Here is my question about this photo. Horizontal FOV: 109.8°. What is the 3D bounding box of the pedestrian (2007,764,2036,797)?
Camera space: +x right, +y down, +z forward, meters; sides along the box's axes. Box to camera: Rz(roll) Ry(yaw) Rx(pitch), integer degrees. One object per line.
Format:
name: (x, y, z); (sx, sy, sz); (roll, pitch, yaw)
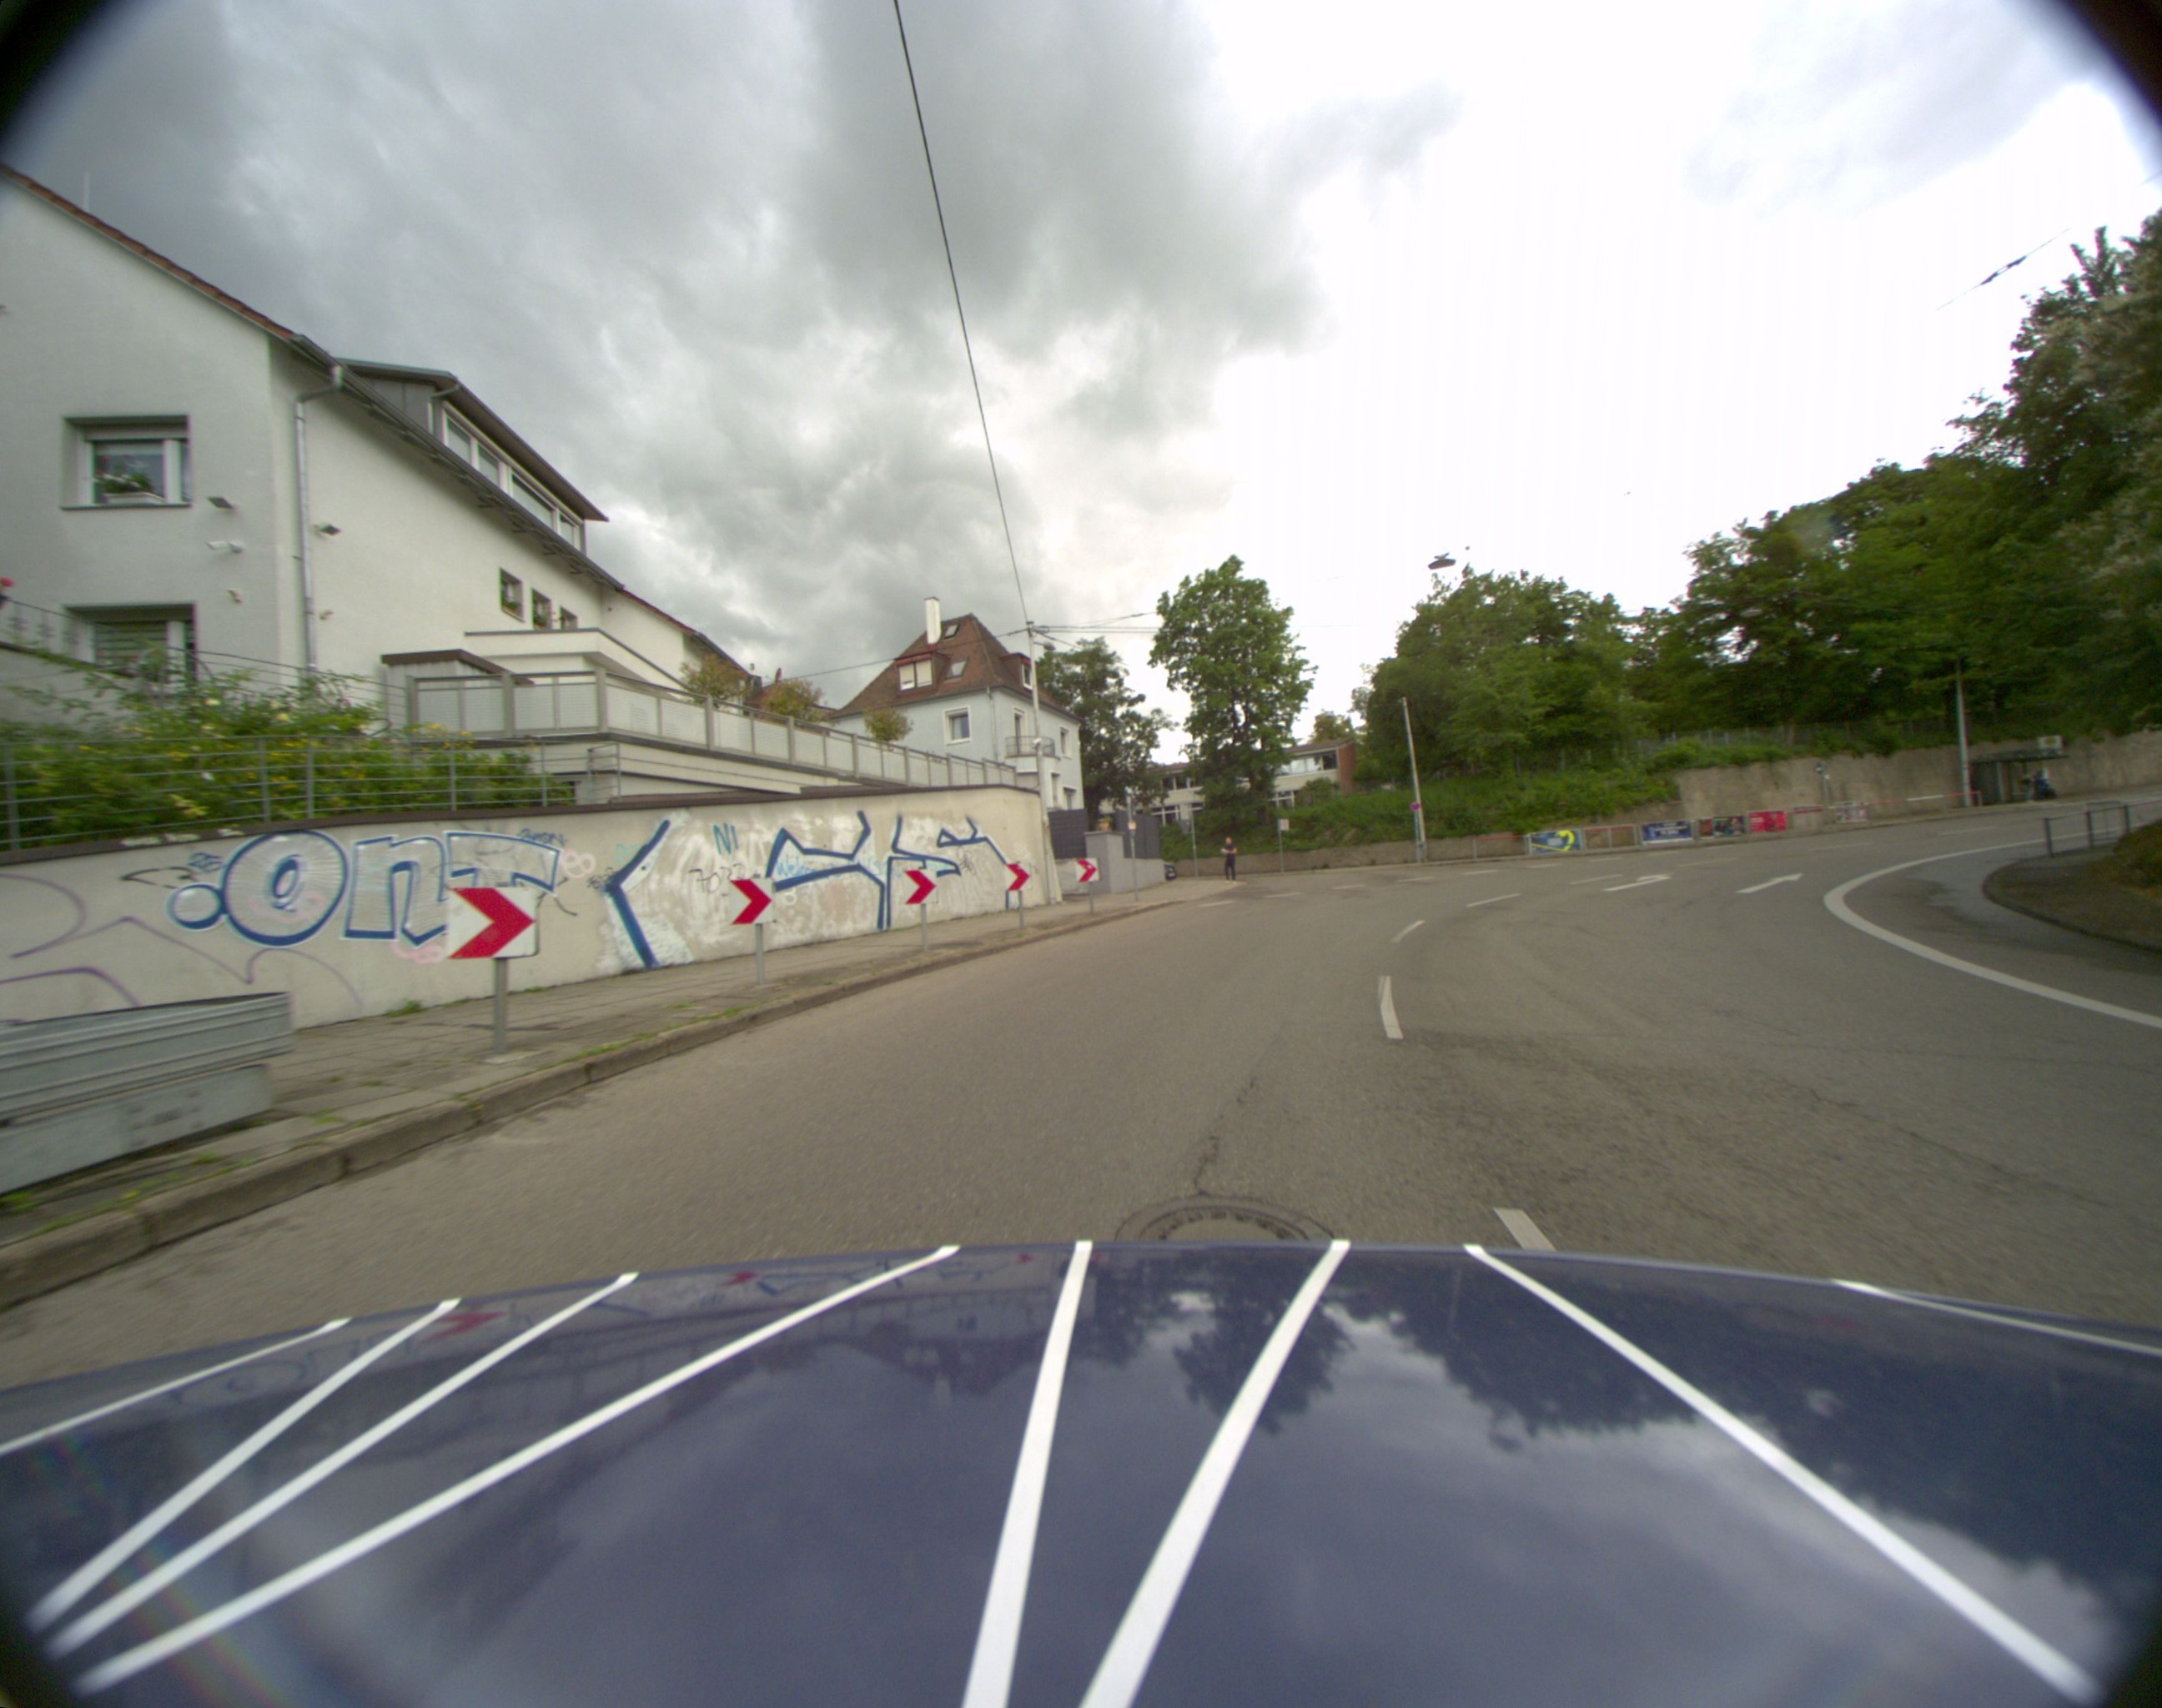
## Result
pedestrian: (50.076, -3.892, 40.455); (0.741, 1.630, 0.717); (-6, 1, -21)

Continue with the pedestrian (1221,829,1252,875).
pedestrian: (6.338, -0.080, 30.892); (0.985, 1.817, 0.574); (-3, 0, -23)

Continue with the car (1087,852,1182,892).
car: (2.865, 0.996, 41.336); (4.828, 1.852, 1.955); (-5, -2, 40)
